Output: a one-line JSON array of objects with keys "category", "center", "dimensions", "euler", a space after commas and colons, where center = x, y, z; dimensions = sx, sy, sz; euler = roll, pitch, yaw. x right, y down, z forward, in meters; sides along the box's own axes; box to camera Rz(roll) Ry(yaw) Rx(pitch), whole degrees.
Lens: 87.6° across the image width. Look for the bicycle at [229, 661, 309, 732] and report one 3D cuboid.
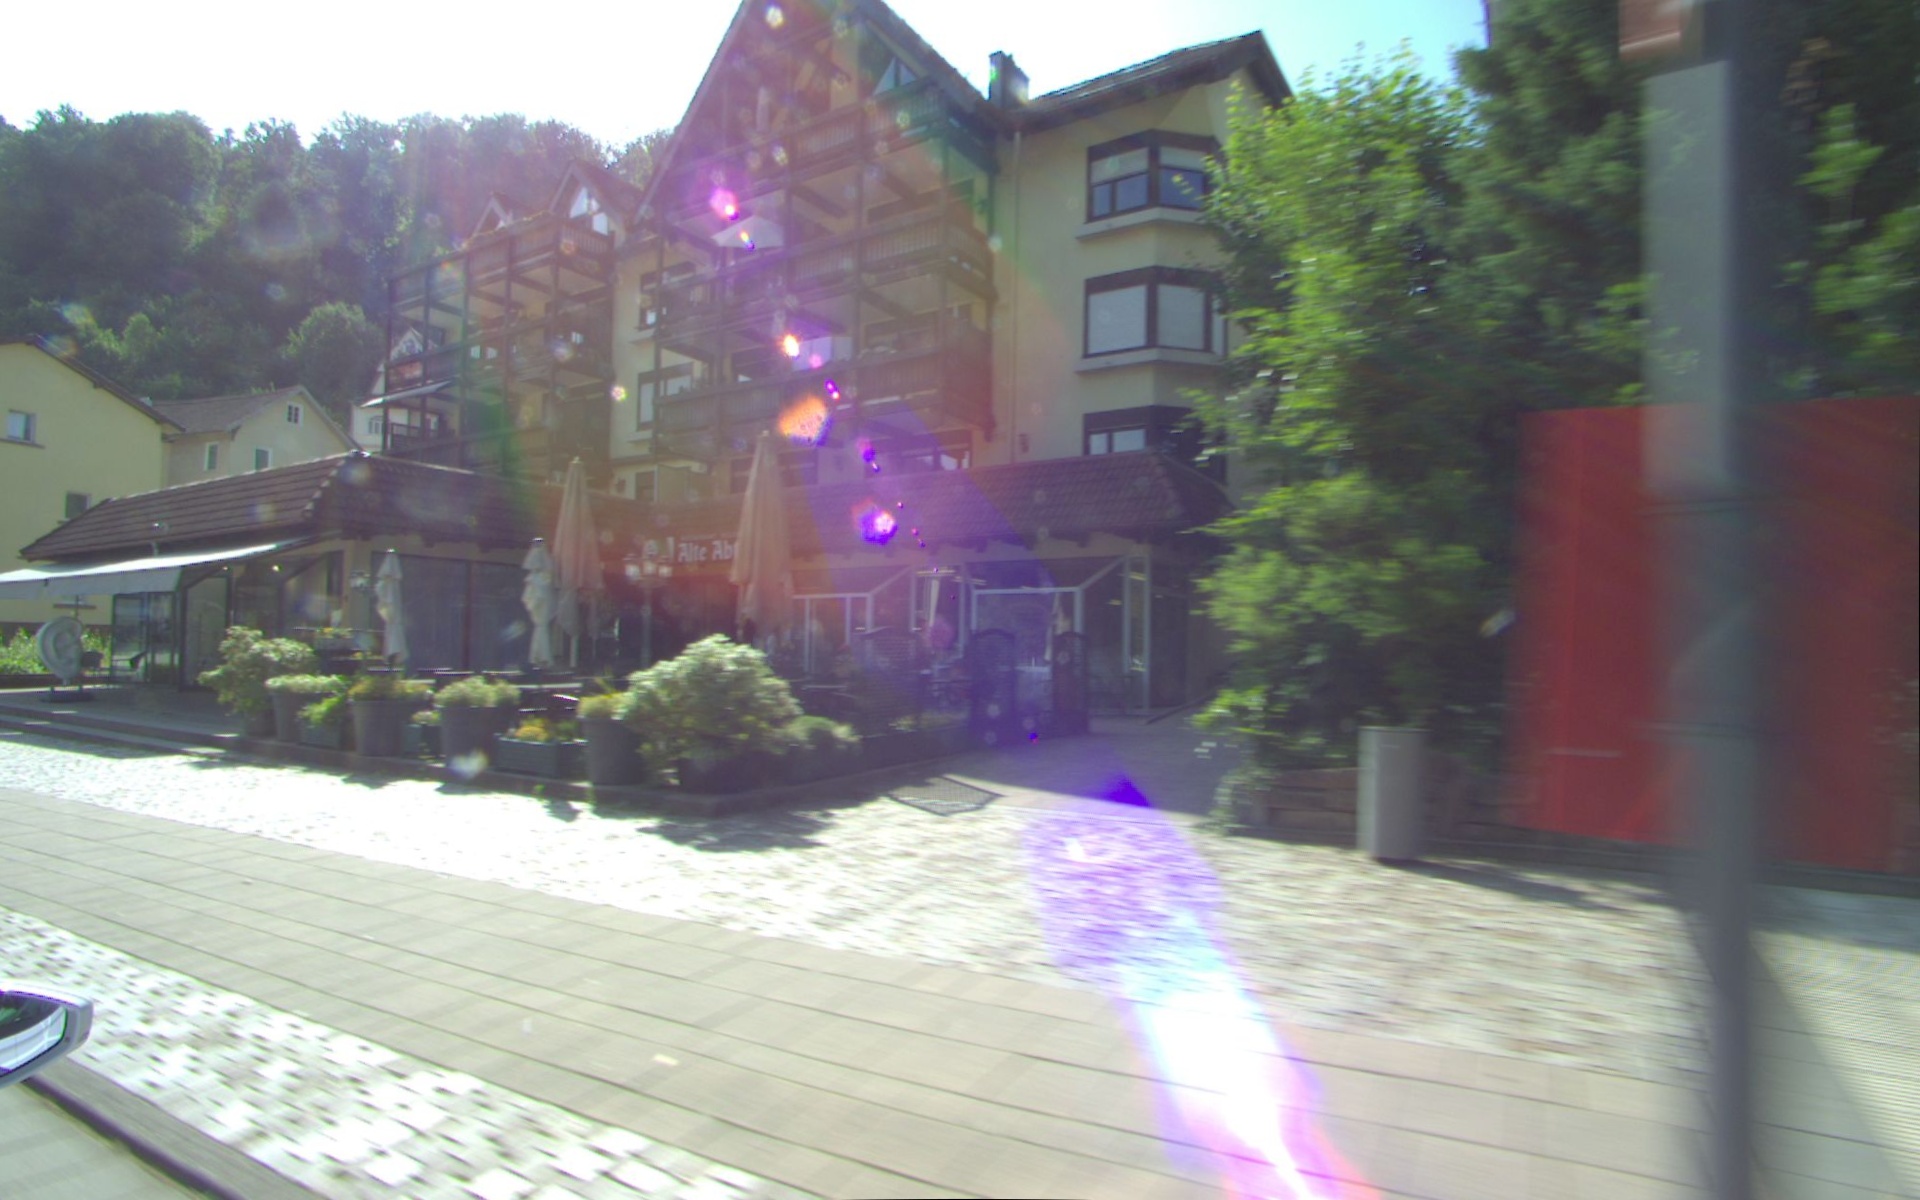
[{"category": "bicycle", "center": [-9.239, 1.266, 13.372], "dimensions": [1.596, 0.874, 0.395], "euler": [-2, -3, 38]}]
